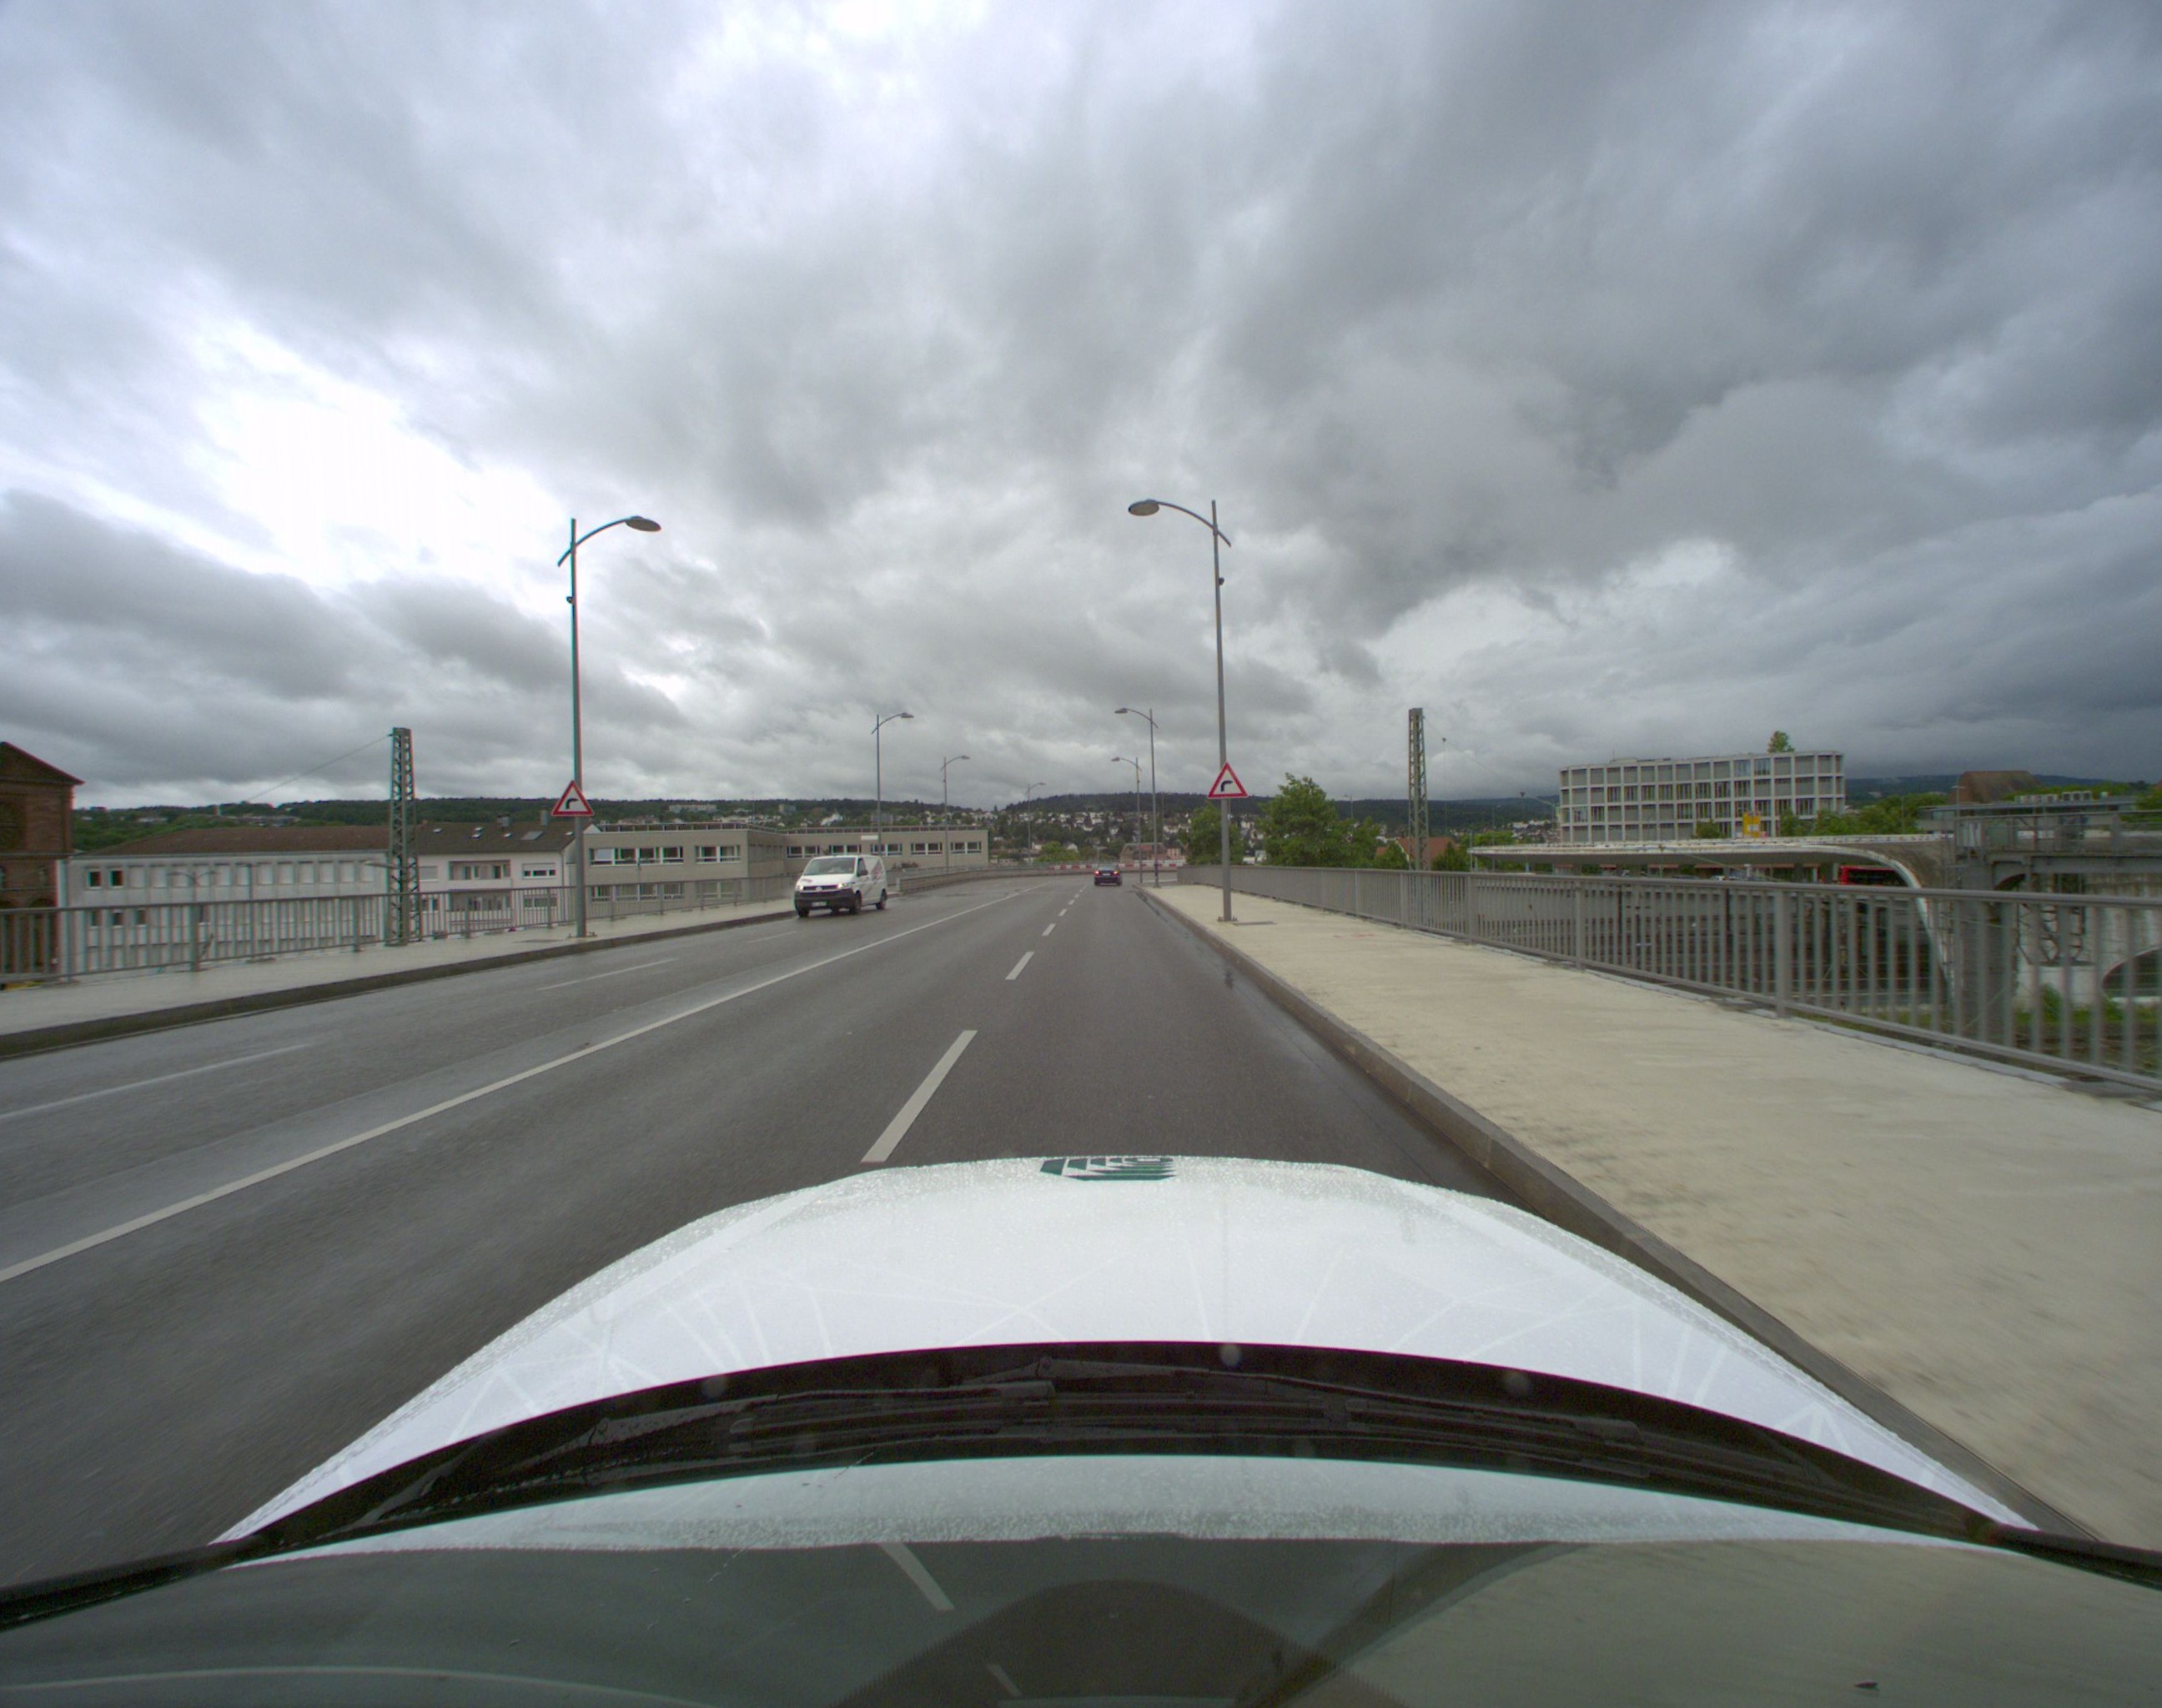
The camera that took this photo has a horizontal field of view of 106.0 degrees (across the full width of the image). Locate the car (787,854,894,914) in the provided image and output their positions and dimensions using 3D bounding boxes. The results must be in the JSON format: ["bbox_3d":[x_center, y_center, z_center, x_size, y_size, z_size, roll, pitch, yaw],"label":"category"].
[{"bbox_3d":[-7.832,0.932,27.054,1.879,1.822,4.961,0,-1,2],"label":"car"}]

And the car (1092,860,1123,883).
[{"bbox_3d":[1.794,1.157,54.464,1.697,1.419,3.732,3,0,7],"label":"car"}]
